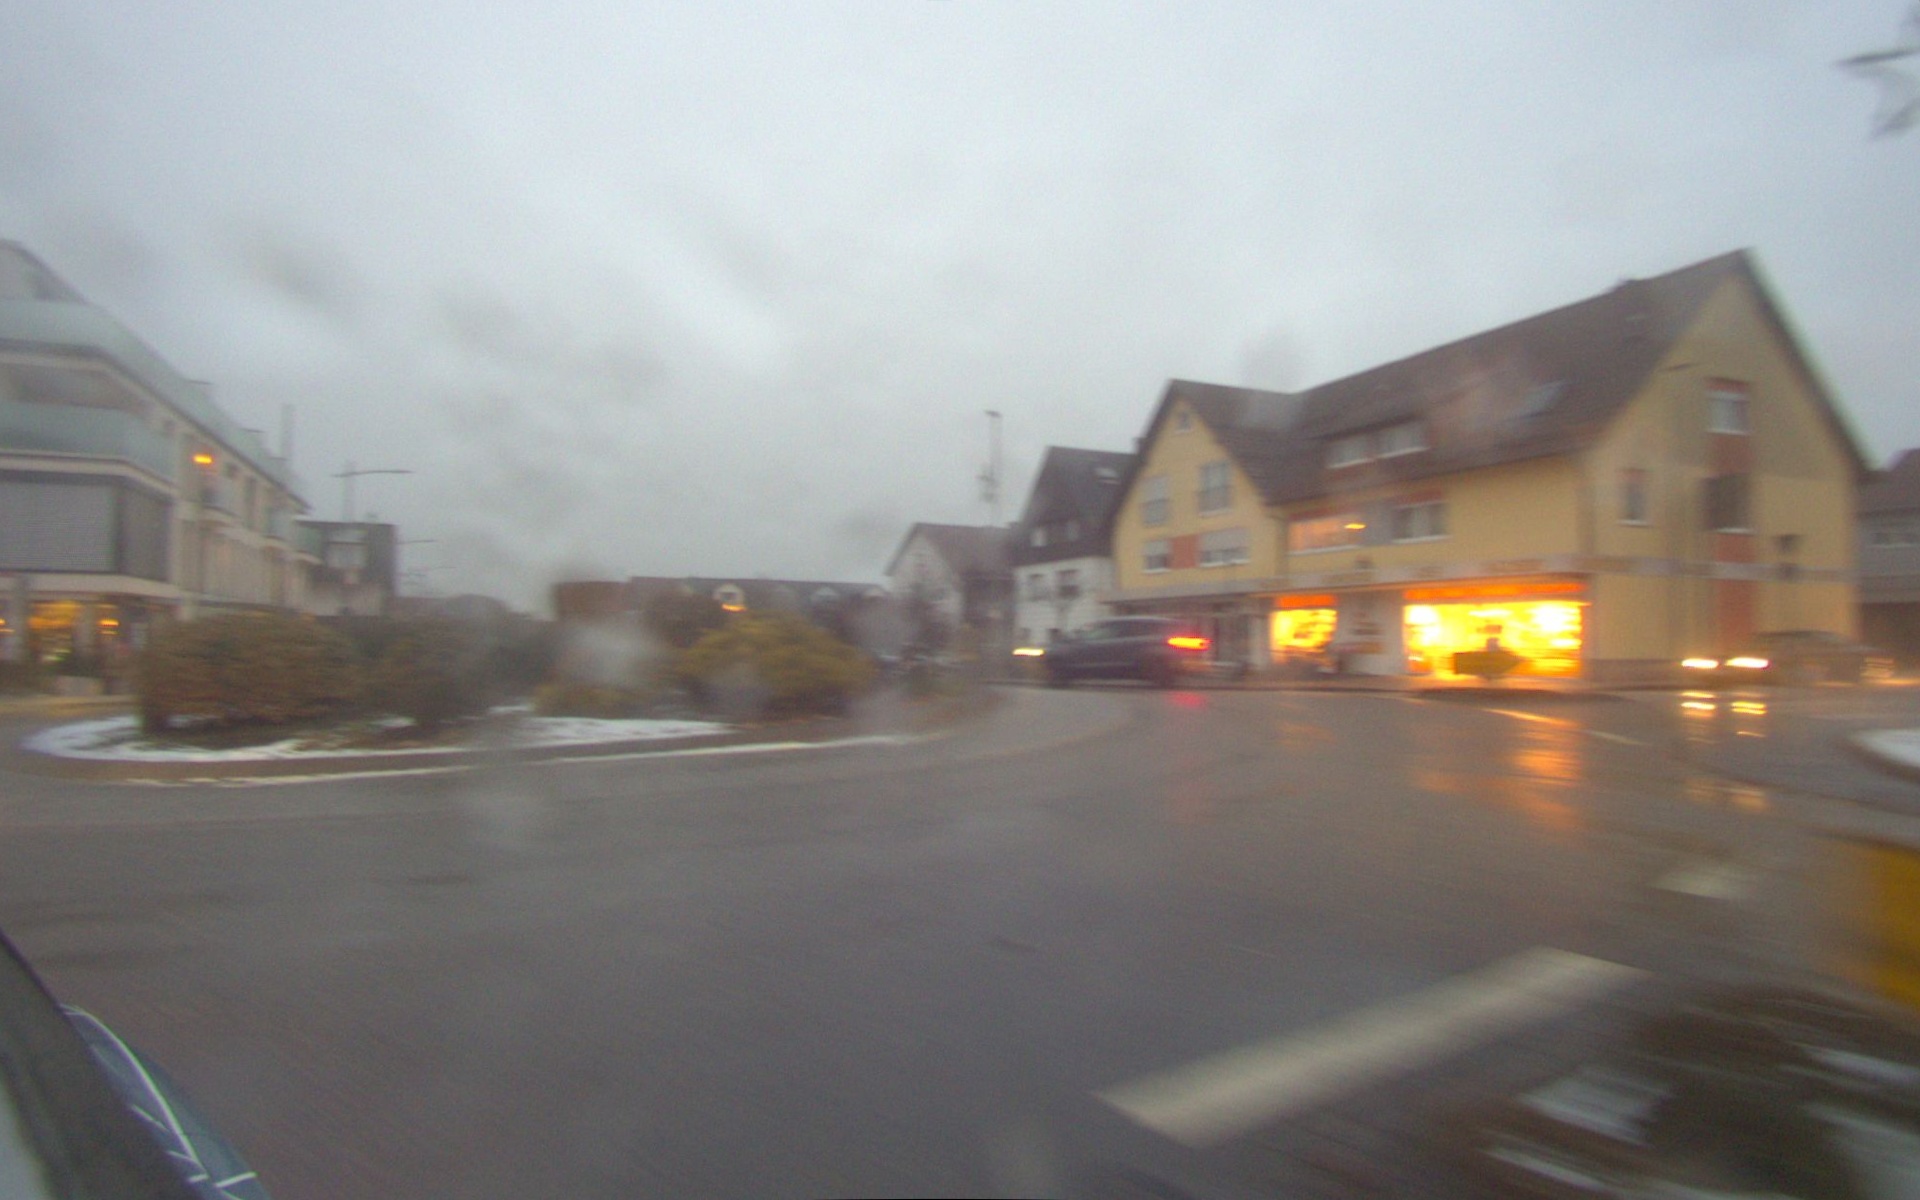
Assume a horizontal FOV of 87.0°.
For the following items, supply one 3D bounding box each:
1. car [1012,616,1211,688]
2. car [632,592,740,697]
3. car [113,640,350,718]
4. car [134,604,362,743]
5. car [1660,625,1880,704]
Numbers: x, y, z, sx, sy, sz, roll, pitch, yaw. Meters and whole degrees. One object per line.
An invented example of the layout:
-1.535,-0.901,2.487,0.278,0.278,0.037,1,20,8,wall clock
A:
3.664,1.218,24.417,4.502,1.612,1.857,-1,-1,20,car
-6.035,0.870,22.031,2.024,2.002,4.551,-1,0,-17,car
-16.763,1.754,23.472,1.560,1.455,4.219,-1,0,39,car
-9.257,0.813,13.297,2.137,1.488,4.010,-1,0,-35,car
18.933,1.447,23.694,4.299,1.617,1.894,-1,0,-17,car
